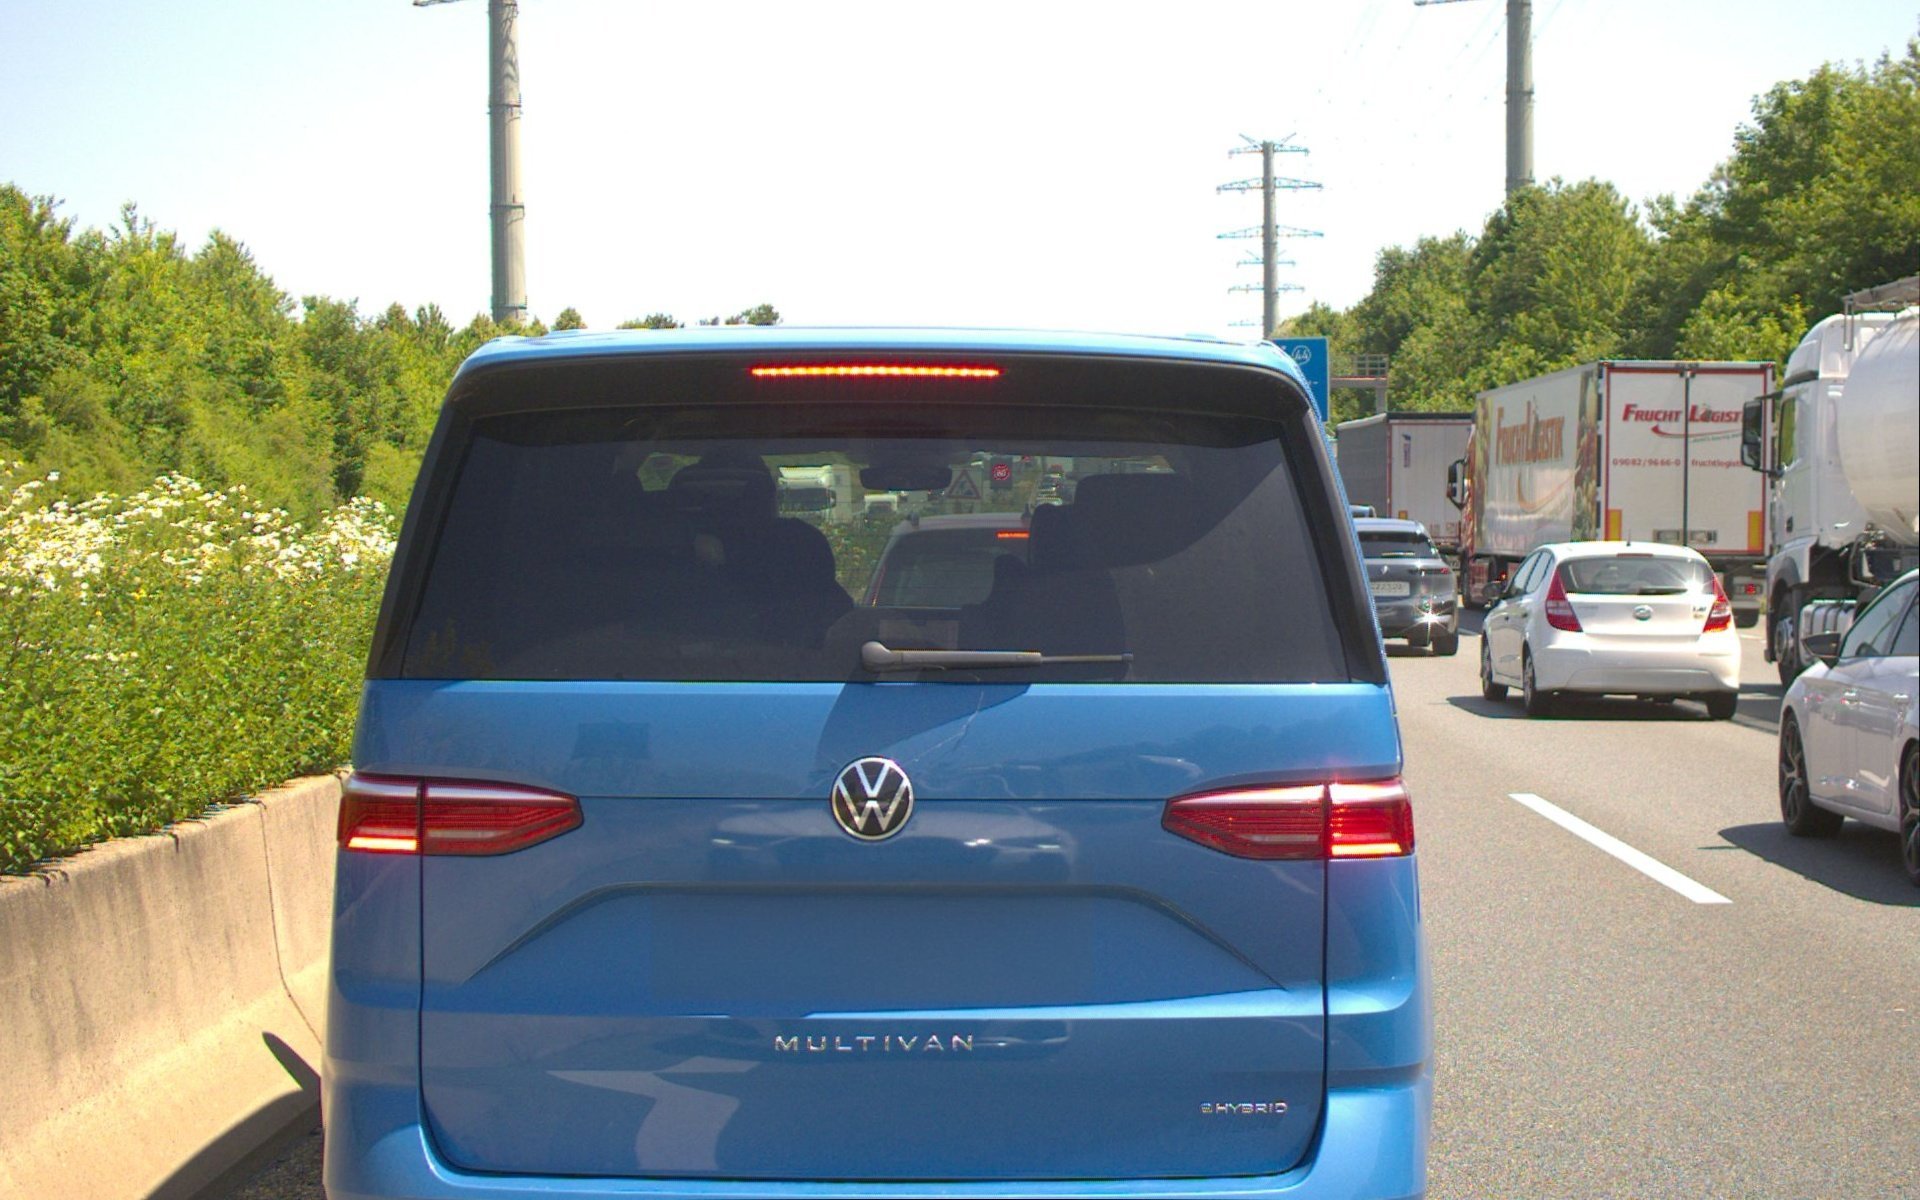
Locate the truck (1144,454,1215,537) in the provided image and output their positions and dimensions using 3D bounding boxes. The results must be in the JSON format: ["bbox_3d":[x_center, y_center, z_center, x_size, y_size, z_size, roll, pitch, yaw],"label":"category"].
[{"bbox_3d":[12.483,-5.926,196.346,3.566,4.501,10.293,-1,1,1],"label":"truck"}]

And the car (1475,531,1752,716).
[{"bbox_3d":[5.624,0.182,30.021,1.817,1.480,4.000,-1,0,3],"label":"car"}]

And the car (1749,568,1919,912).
[{"bbox_3d":[4.935,0.565,15.806,1.748,1.438,4.313,-1,0,2],"label":"car"}]

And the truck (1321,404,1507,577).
[{"bbox_3d":[10.782,-2.492,83.216,3.006,3.753,15.712,-1,1,2],"label":"truck"}]

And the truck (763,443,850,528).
[{"bbox_3d":[-7.109,-5.271,160.465,3.172,3.806,11.943,1,1,2],"label":"truck"}]

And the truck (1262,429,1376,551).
[{"bbox_3d":[11.819,-3.538,114.353,2.895,3.753,13.344,-1,1,2],"label":"truck"}]

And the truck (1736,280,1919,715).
[{"bbox_3d":[9.477,-0.966,33.061,2.793,3.823,5.572,-1,1,1],"label":"truck"}]

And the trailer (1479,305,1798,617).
[{"bbox_3d":[10.725,-2.103,55.782,2.912,4.453,12.154,-1,1,1],"label":"trailer"}]

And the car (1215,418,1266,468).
[{"bbox_3d":[12.310,-6.877,150.968,1.993,2.007,4.000,-1,1,2],"label":"car"}]

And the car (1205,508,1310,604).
[{"bbox_3d":[6.322,-0.914,73.346,1.923,1.919,4.235,-2,0,2],"label":"car"}]

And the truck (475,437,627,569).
[{"bbox_3d":[-12.420,-2.939,105.506,2.912,3.806,11.943,1,1,2],"label":"truck"}]

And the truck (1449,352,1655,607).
[{"bbox_3d":[10.833,-2.173,63.345,2.912,4.453,5.142,-1,1,1],"label":"truck"}]

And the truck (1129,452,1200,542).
[{"bbox_3d":[8.986,-4.467,151.873,2.895,3.753,10.140,-1,1,2],"label":"truck"}]

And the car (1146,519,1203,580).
[{"bbox_3d":[7.392,-1.724,118.720,1.836,1.991,4.000,-2,0,3],"label":"car"}]

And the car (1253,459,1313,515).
[{"bbox_3d":[12.137,-4.254,129.492,1.993,2.007,4.000,-1,1,2],"label":"car"}]

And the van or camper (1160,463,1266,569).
[{"bbox_3d":[7.474,-2.460,102.351,2.957,3.011,7.102,0,1,3],"label":"van or camper"}]

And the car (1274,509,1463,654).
[{"bbox_3d":[5.132,-0.231,43.728,1.999,1.709,4.625,-1,0,2],"label":"car"}]

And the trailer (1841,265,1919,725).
[{"bbox_3d":[9.328,-0.841,25.524,2.761,3.831,11.486,-1,1,1],"label":"trailer"}]

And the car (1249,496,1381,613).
[{"bbox_3d":[6.189,-0.775,60.335,1.923,1.919,4.235,-2,0,2],"label":"car"}]

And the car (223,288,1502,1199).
[{"bbox_3d":[-0.102,0.435,7.191,1.920,1.880,4.000,1,1,2],"label":"car"}]
